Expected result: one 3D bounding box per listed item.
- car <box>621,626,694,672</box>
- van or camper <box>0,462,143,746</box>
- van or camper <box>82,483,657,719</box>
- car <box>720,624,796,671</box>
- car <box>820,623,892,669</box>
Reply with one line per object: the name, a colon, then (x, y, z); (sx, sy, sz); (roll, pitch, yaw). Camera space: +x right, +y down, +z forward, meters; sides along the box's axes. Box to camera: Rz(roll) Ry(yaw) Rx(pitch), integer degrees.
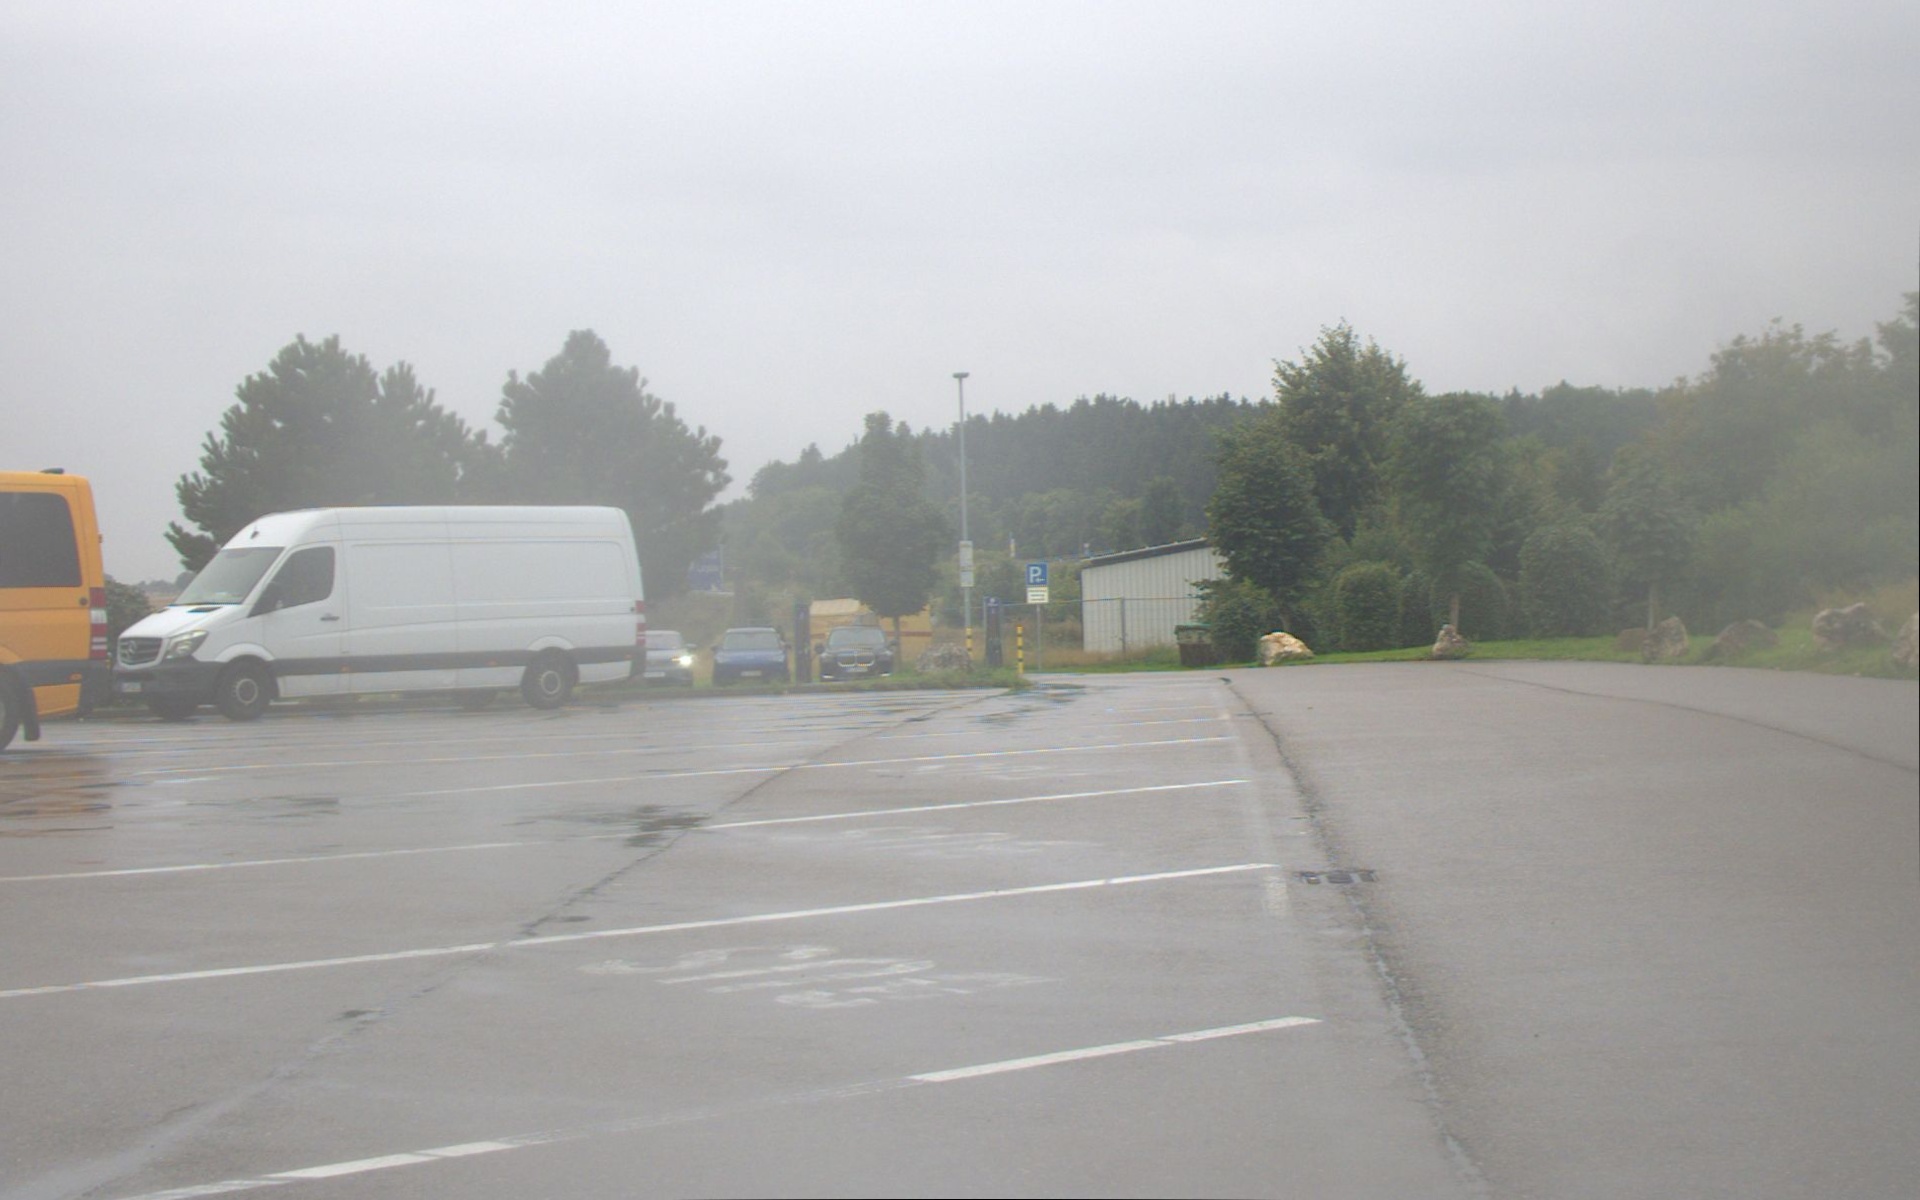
car: (-7.411, 1.188, 84.432); (1.495, 0.997, 3.570); (-1, 1, -1)
van or camper: (-9.755, 0.068, 26.558); (6.399, 2.239, 2.134); (-2, 2, -41)
van or camper: (-7.236, -0.090, 42.895); (7.048, 2.706, 1.999); (-2, 3, -41)
car: (-5.019, 1.171, 85.682); (1.704, 0.997, 3.768); (-1, 1, -1)
car: (-2.572, 1.140, 85.502); (1.704, 0.997, 3.768); (-1, 1, -1)
